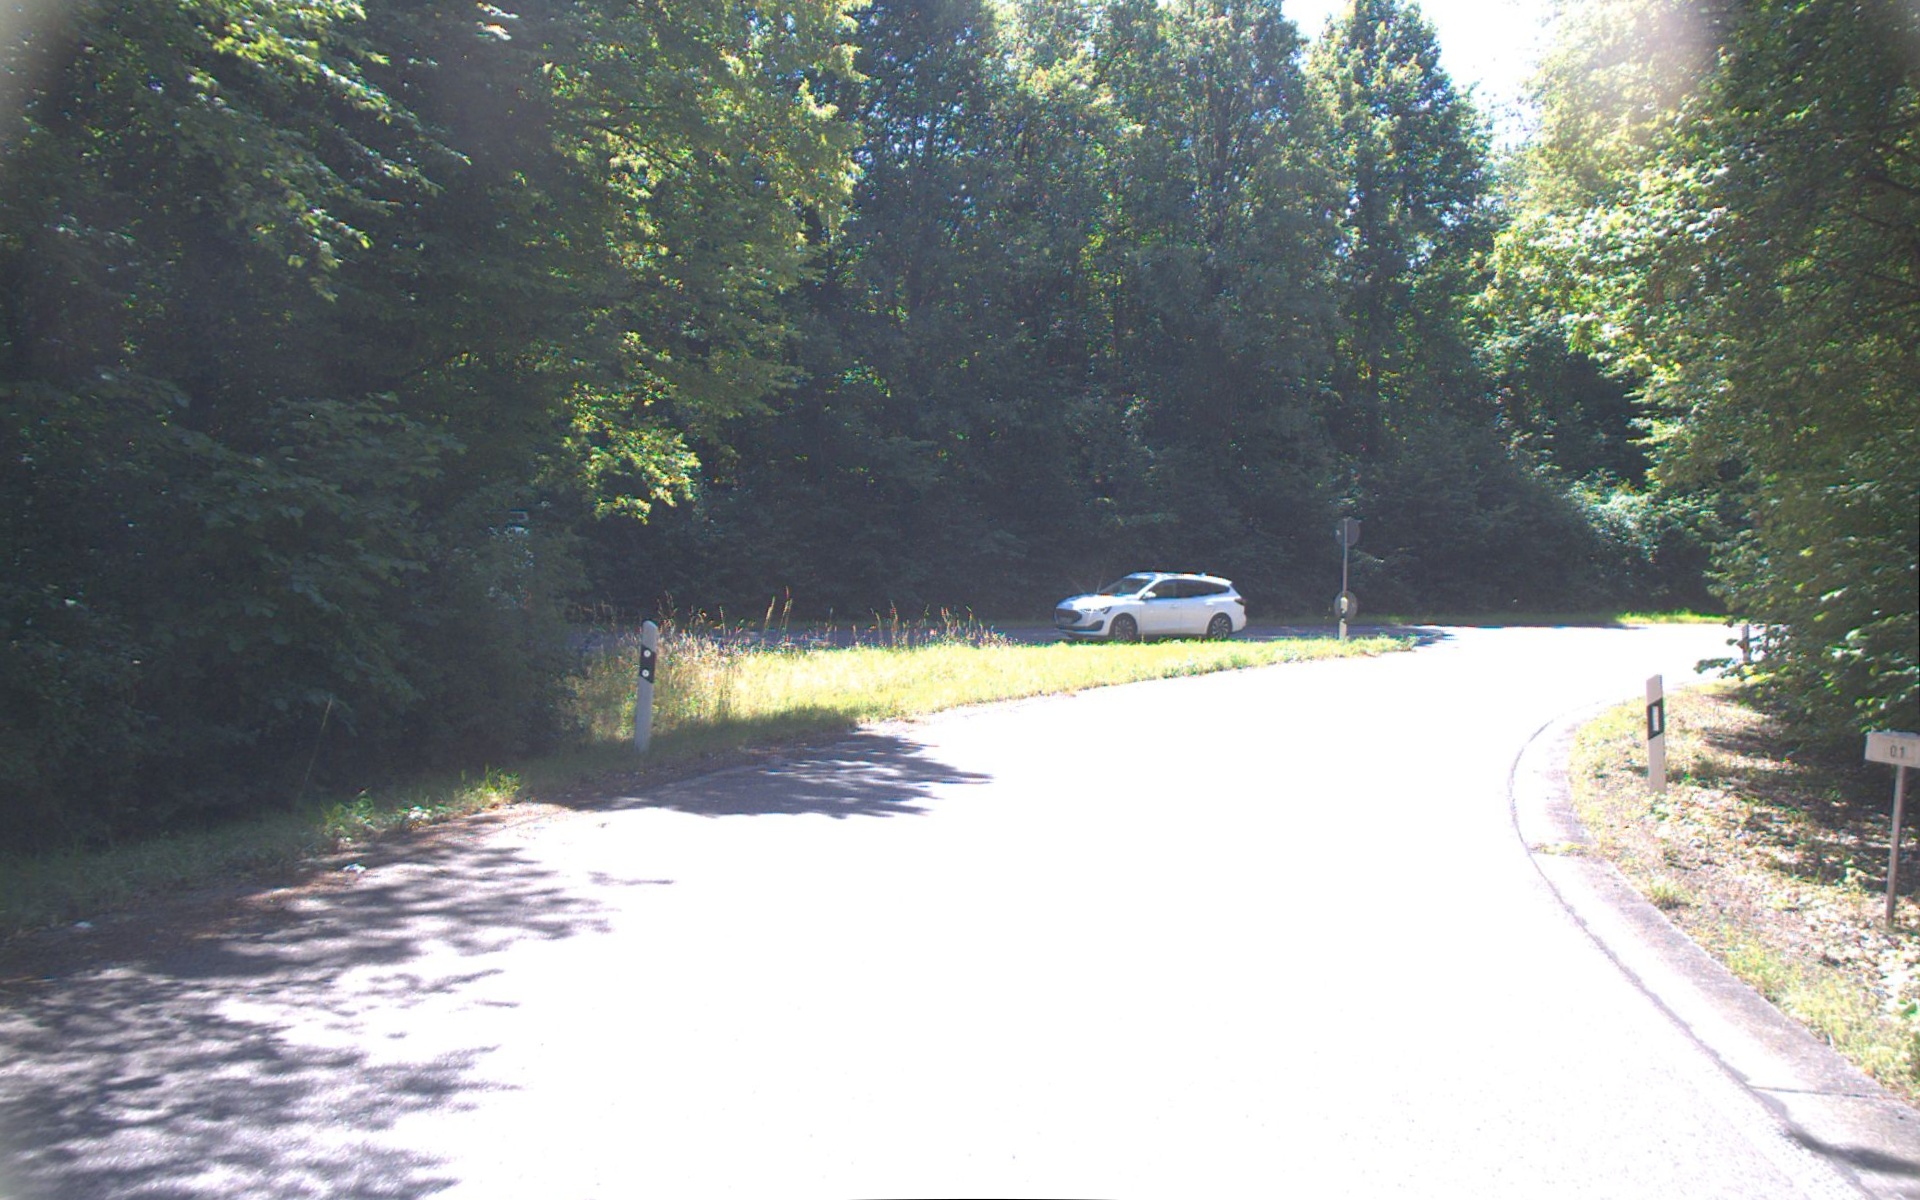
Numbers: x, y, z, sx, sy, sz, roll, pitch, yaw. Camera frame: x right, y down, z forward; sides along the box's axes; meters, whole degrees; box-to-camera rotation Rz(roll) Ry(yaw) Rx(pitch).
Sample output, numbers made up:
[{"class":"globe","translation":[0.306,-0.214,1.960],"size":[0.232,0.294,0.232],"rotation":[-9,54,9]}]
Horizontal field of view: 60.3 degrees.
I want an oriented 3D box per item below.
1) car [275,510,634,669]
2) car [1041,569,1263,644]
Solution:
[{"class":"car","translation":[-8.327,-0.236,27.441],"size":[5.361,2.386,2.045],"rotation":[-1,4,-34]},{"class":"car","translation":[4.217,0.097,36.048],"size":[4.808,1.477,1.742],"rotation":[-1,4,-33]}]
